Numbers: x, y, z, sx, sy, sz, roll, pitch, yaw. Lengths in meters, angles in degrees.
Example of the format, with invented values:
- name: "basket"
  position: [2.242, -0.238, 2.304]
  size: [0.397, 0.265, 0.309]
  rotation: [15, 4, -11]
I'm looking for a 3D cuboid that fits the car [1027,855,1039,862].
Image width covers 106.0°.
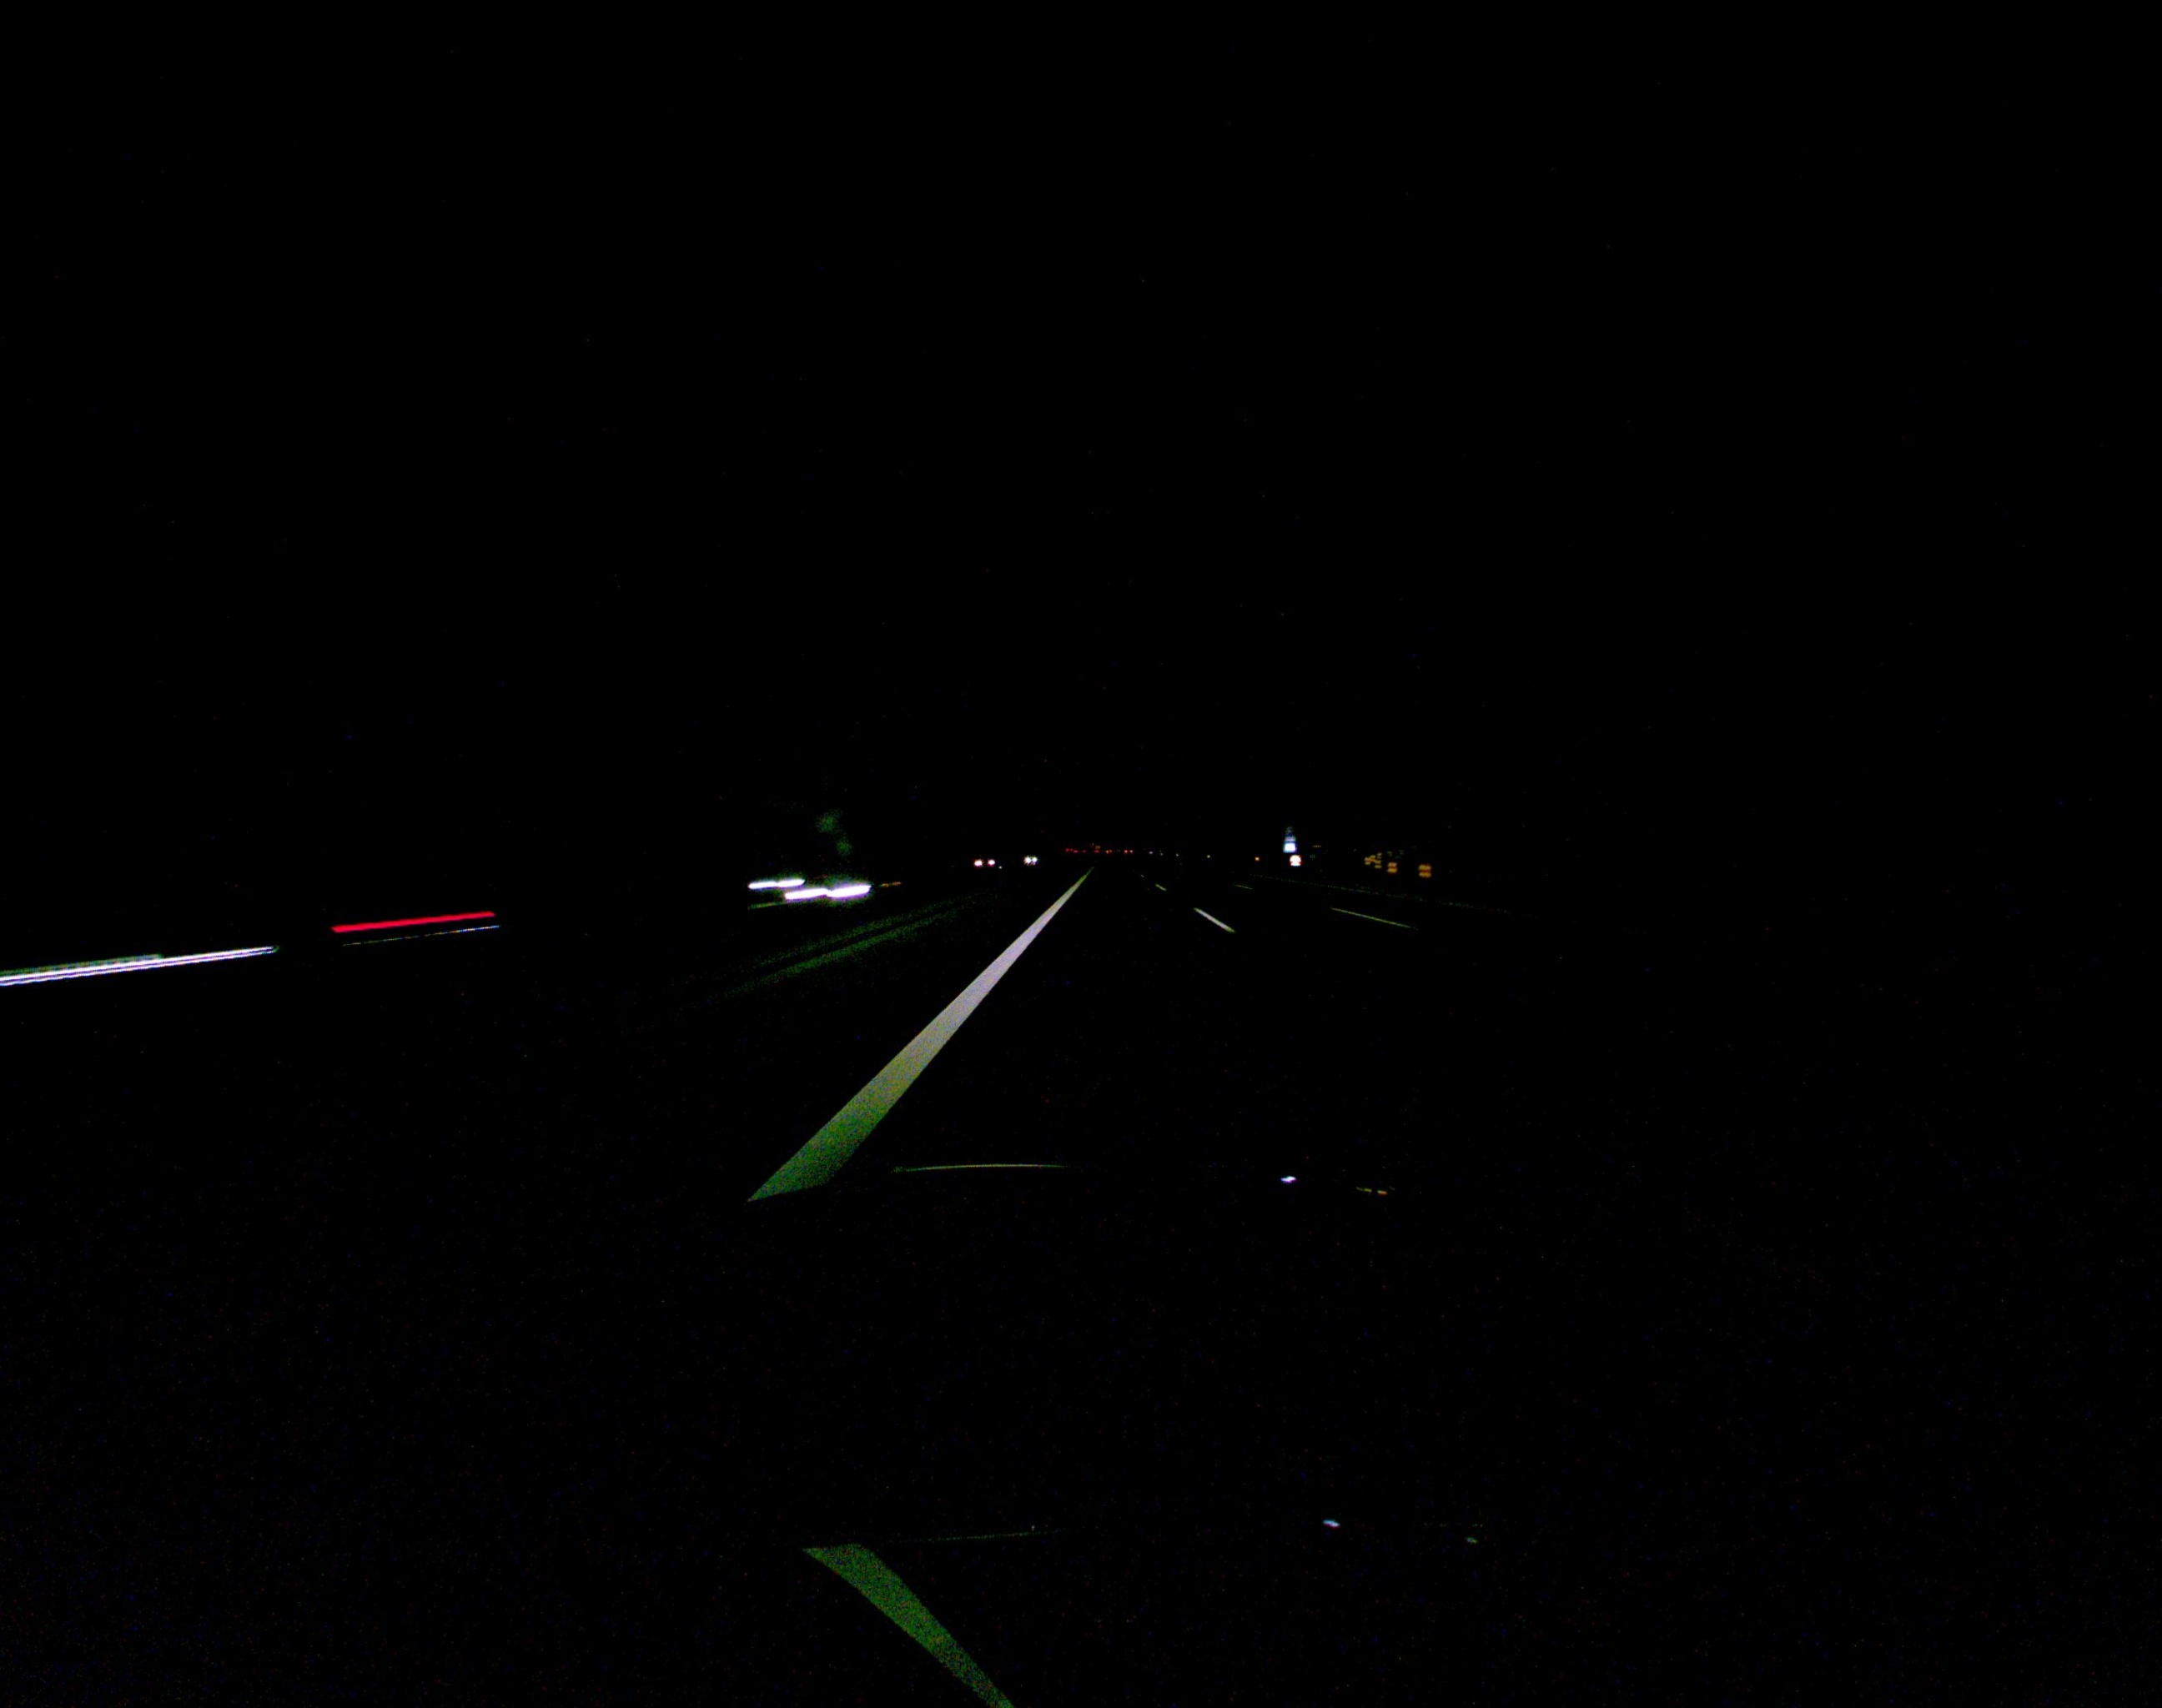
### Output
- name: "car"
  position: [-10.242, 0.927, 175.299]
  size: [1.986, 1.503, 5.203]
  rotation: [-3, 0, 2]

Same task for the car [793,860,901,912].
- name: "car"
  position: [-7.761, 0.999, 27.583]
  size: [1.986, 1.461, 4.903]
  rotation: [-3, 0, 2]

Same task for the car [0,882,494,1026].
- name: "car"
  position: [-11.983, 1.263, 12.283]
  size: [1.986, 1.394, 5.707]
  rotation: [-3, 0, 1]

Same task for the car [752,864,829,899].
- name: "car"
  position: [-14.482, 1.338, 40.905]
  size: [1.986, 1.485, 4.802]
  rotation: [-3, 0, 2]

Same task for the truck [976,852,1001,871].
- name: "truck"
  position: [-10.474, 0.834, 92.271]
  size: [1.986, 1.942, 5.243]
  rotation: [-2, -1, 2]
